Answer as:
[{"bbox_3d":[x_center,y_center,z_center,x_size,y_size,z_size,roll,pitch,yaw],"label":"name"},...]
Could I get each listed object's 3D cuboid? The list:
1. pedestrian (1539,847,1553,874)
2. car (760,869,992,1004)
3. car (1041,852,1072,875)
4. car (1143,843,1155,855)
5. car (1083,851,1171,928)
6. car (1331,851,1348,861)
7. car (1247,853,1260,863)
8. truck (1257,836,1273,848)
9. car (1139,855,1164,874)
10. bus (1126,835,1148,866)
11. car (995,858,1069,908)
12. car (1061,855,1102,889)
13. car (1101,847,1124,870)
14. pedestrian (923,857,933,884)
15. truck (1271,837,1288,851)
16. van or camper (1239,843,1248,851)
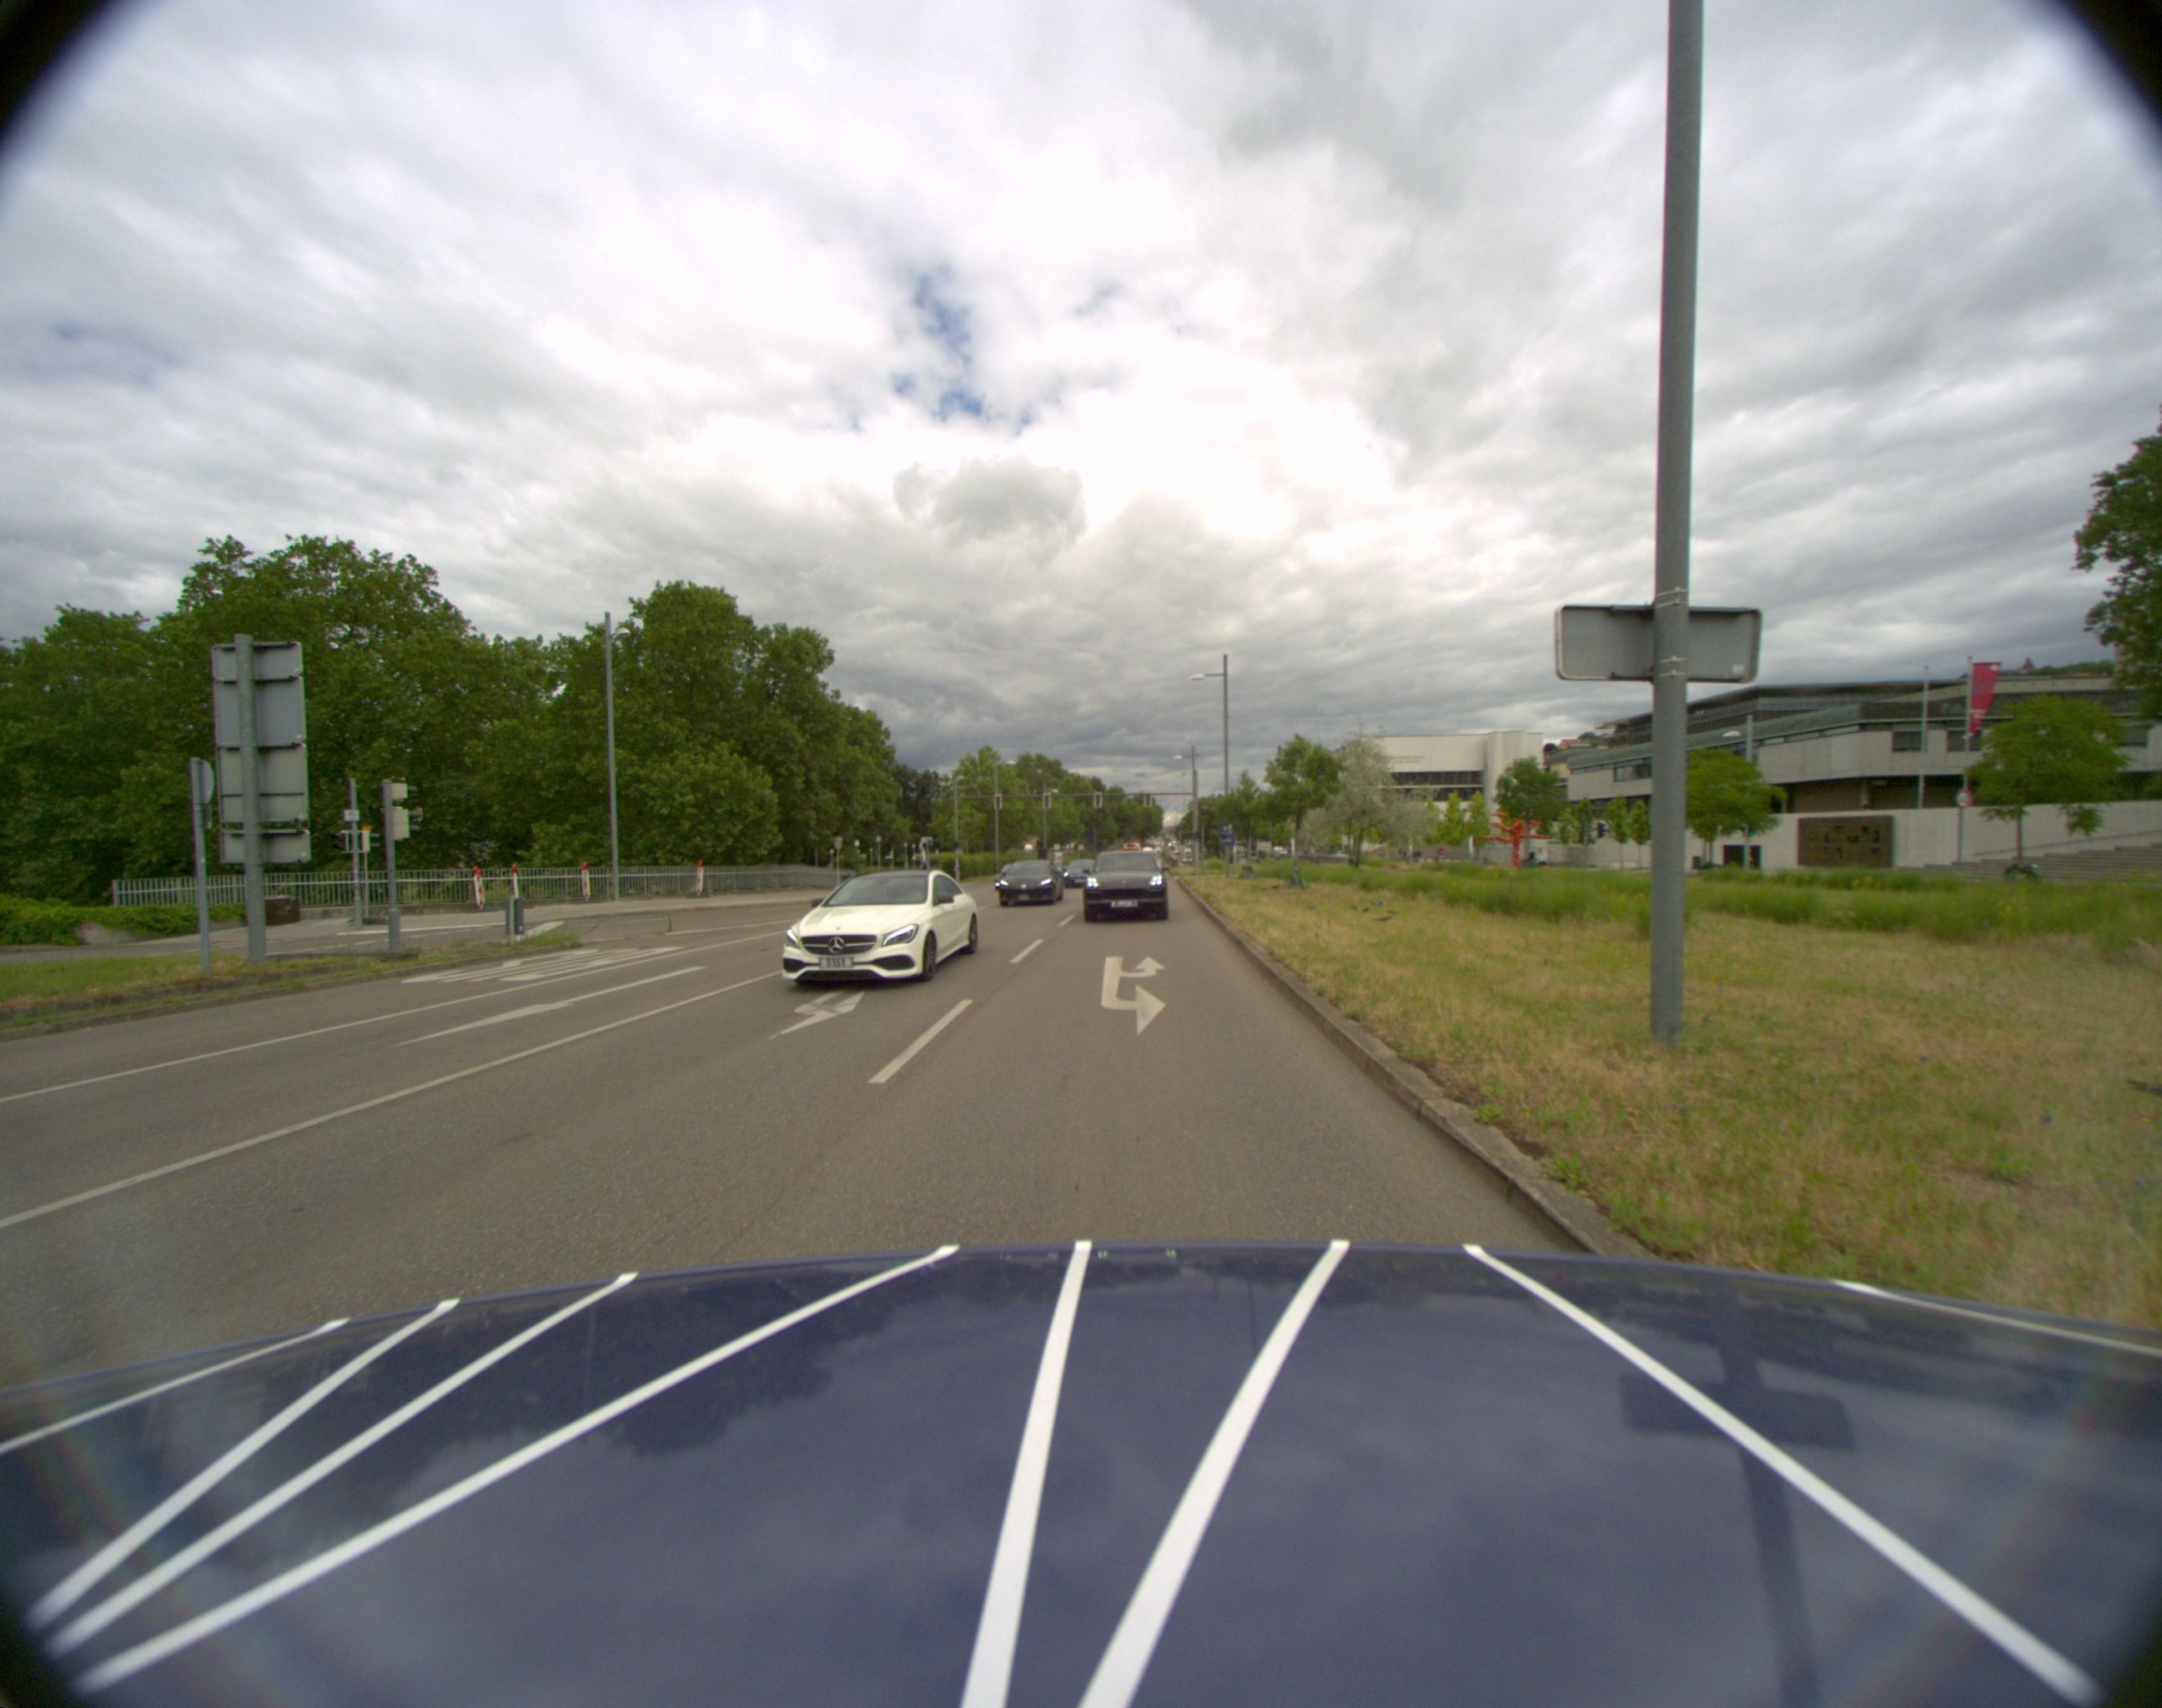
[{"bbox_3d":[30.633,0.437,50.052,0.541,1.723,0.664,-2,0,6],"label":"pedestrian"},{"bbox_3d":[-2.660,1.014,11.101,1.722,1.415,4.507,-2,1,6],"label":"car"},{"bbox_3d":[-1.782,0.684,55.737,1.722,1.528,4.003,-2,1,6],"label":"car"},{"bbox_3d":[12.617,-0.988,141.650,1.997,2.216,4.002,-2,1,8],"label":"car"},{"bbox_3d":[1.252,0.780,19.177,1.937,1.668,4.681,-1,0,6],"label":"car"},{"bbox_3d":[42.580,0.389,125.186,1.722,1.565,4.615,-1,0,7],"label":"car"},{"bbox_3d":[34.954,0.786,153.876,1.997,2.002,4.002,2,0,6],"label":"car"},{"bbox_3d":[46.869,-2.956,193.497,3.237,2.771,7.257,-1,0,7],"label":"truck"},{"bbox_3d":[5.965,0.873,64.678,1.761,1.538,3.999,-2,1,0],"label":"car"},{"bbox_3d":[8.410,-0.530,114.027,3.042,4.327,8.752,-1,1,5],"label":"bus"},{"bbox_3d":[-1.598,0.945,26.231,1.829,1.515,4.121,-2,0,6],"label":"car"},{"bbox_3d":[0.075,0.997,40.173,1.572,1.527,4.006,-6,-4,7],"label":"car"},{"bbox_3d":[2.777,0.328,65.806,1.722,1.851,4.432,-2,1,6],"label":"car"},{"bbox_3d":[-10.237,1.112,50.861,0.479,1.753,0.620,-2,1,3],"label":"pedestrian"},{"bbox_3d":[41.844,-2.117,160.014,2.469,2.800,7.082,-1,0,7],"label":"truck"},{"bbox_3d":[45.706,-1.885,213.589,1.998,2.002,4.559,-1,0,6],"label":"van or camper"}]
